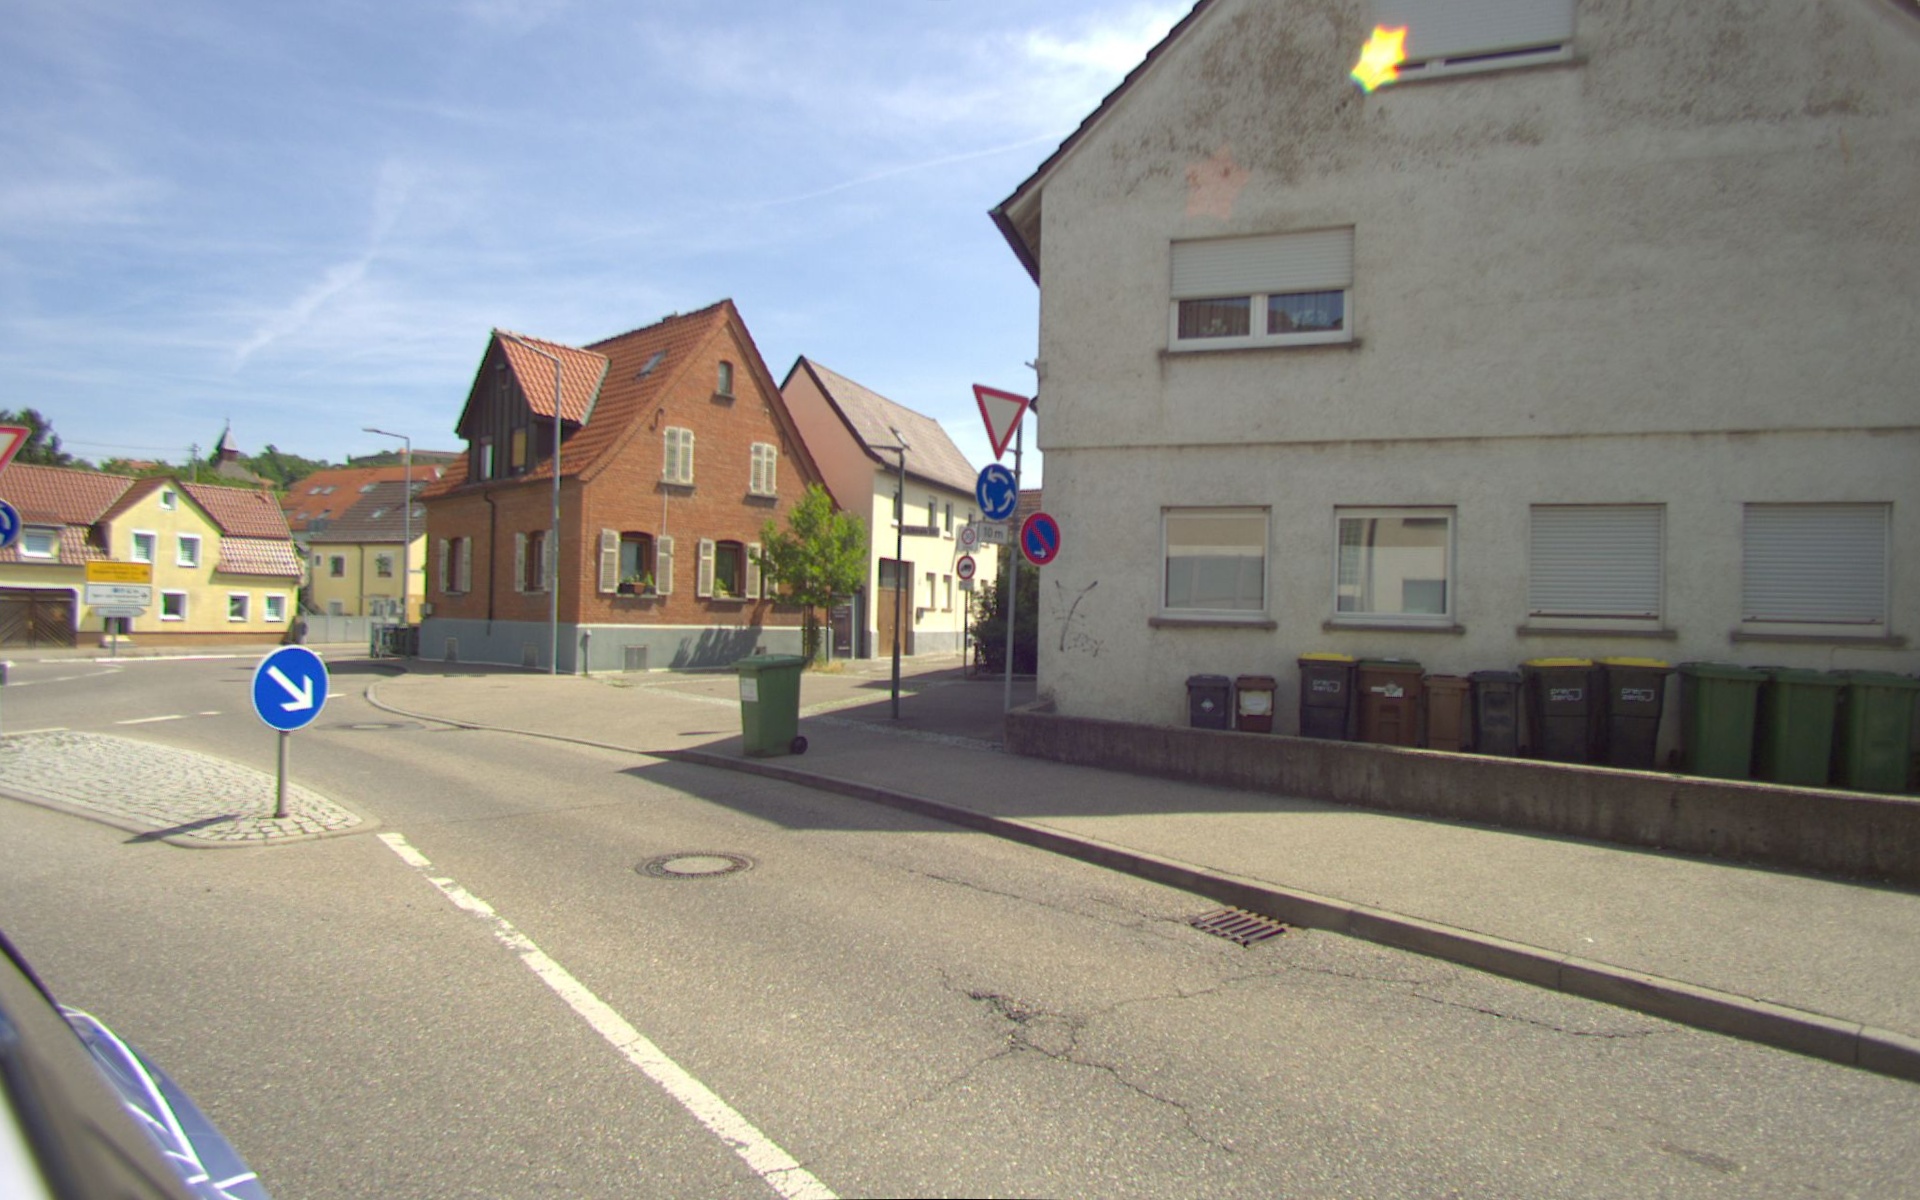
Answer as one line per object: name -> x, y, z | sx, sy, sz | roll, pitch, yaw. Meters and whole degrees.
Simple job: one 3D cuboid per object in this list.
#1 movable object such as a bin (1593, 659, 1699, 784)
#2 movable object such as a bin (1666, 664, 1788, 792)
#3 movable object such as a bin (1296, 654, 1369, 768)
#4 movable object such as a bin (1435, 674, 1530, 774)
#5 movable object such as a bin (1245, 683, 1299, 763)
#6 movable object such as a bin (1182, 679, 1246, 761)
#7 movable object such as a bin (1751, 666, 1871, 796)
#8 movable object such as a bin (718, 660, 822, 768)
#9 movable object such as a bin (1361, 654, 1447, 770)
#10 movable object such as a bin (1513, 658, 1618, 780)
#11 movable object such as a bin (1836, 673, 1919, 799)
movable object such as a bin -> 6.468, 1.122, 9.574 | 0.620, 1.090, 0.681 | 0, -1, 16
movable object such as a bin -> 7.124, 1.165, 9.436 | 0.654, 1.090, 0.737 | 0, -1, 15
movable object such as a bin -> 3.817, 1.117, 10.417 | 0.639, 1.094, 0.681 | 0, -1, 16
movable object such as a bin -> 5.161, 1.211, 10.039 | 0.692, 0.903, 0.681 | 0, -1, 16
movable object such as a bin -> 3.290, 1.288, 10.701 | 0.522, 0.786, 0.484 | 0, -1, 16
movable object such as a bin -> 2.739, 1.278, 10.879 | 0.641, 0.811, 0.484 | 0, -1, 18
movable object such as a bin -> 7.713, 1.162, 9.199 | 0.578, 1.090, 0.677 | 0, -1, 15
movable object such as a bin -> -2.039, 1.188, 10.849 | 0.798, 1.053, 0.828 | 1, -2, -38
movable object such as a bin -> 4.473, 1.112, 10.234 | 0.692, 1.094, 0.681 | 0, -1, 16
movable object such as a bin -> 5.818, 1.122, 9.755 | 0.692, 1.090, 0.681 | 0, -1, 16
movable object such as a bin -> 8.289, 1.186, 8.943 | 0.598, 1.043, 0.626 | 0, -1, 16
